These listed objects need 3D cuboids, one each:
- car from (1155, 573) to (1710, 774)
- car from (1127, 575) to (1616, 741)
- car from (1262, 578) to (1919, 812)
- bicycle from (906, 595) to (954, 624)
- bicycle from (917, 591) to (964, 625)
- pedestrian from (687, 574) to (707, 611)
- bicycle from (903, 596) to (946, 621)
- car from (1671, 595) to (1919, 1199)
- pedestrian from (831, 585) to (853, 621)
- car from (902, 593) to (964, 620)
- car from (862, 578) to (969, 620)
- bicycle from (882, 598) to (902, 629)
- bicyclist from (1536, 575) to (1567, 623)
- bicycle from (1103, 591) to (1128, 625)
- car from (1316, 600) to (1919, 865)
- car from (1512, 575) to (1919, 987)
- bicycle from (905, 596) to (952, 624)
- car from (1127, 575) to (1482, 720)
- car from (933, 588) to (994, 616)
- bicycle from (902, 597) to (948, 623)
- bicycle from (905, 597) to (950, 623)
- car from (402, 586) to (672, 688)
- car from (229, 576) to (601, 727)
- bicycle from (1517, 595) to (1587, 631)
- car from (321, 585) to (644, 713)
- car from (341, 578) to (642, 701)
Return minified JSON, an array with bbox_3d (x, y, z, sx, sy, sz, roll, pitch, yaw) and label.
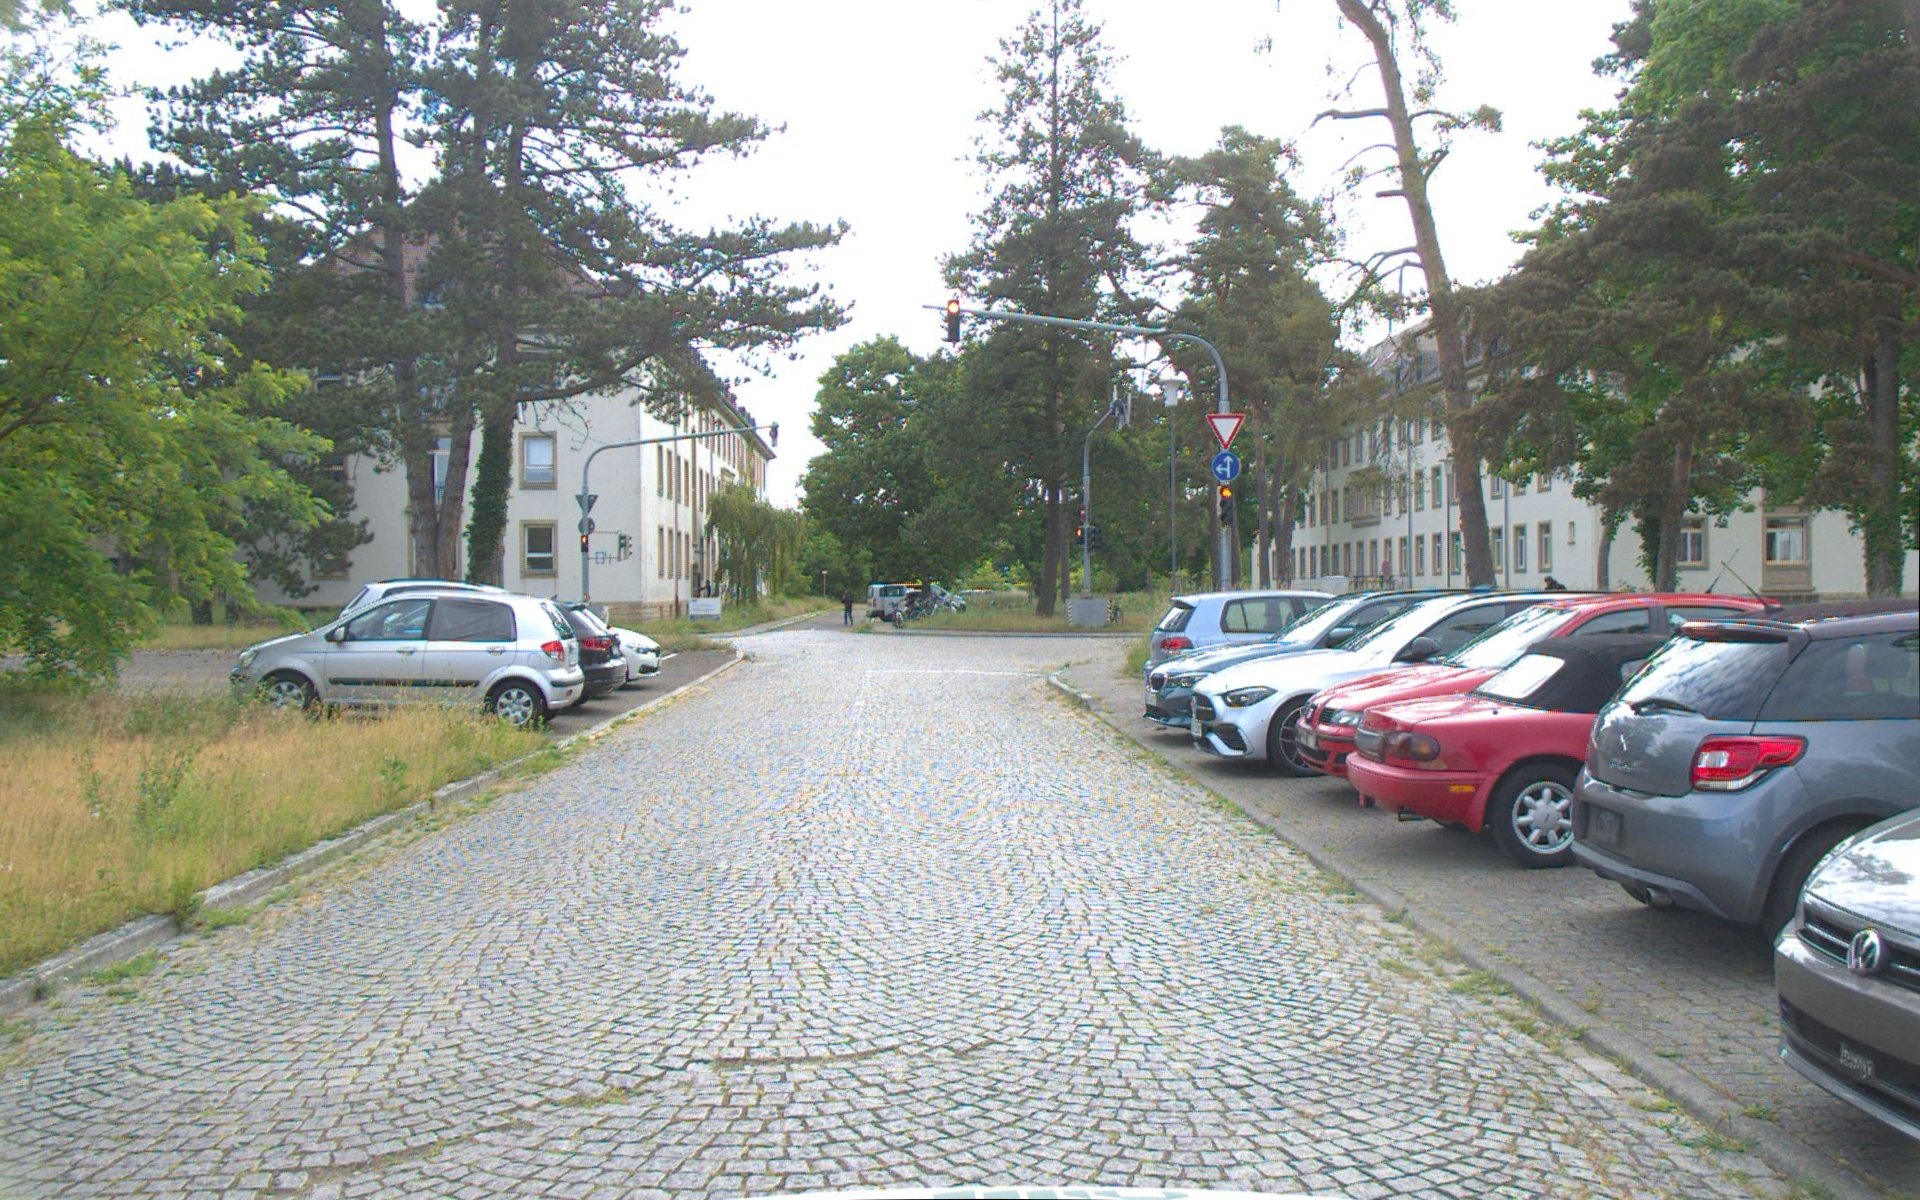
[{"bbox_3d":[4.105,0.583,14.650,4.344,1.441,1.866,-2,0,-12],"label":"car"},{"bbox_3d":[4.209,0.558,17.343,4.590,1.441,1.869,-2,0,-5],"label":"car"},{"bbox_3d":[4.561,0.644,12.401,4.177,1.441,1.870,-2,0,-3],"label":"car"},{"bbox_3d":[-1.238,0.390,68.423,1.919,1.152,0.587,-1,0,-10],"label":"bicycle"},{"bbox_3d":[-0.830,0.322,69.907,1.919,1.408,0.587,-1,0,-10],"label":"bicycle"},{"bbox_3d":[-13.311,-0.380,83.625,0.767,1.869,0.732,-1,0,-34],"label":"pedestrian"},{"bbox_3d":[-1.622,0.395,75.563,1.932,1.088,0.583,-1,0,-27],"label":"bicycle"},{"bbox_3d":[4.171,0.692,4.396,3.787,1.497,1.756,-2,0,-5],"label":"car"},{"bbox_3d":[-5.351,0.137,75.106,0.730,1.647,0.769,-1,0,-27],"label":"pedestrian"},{"bbox_3d":[-1.379,0.324,83.141,2.949,1.290,1.532,-1,0,-8],"label":"car"},{"bbox_3d":[-2.339,-0.052,86.468,5.266,1.958,2.019,-2,0,-12],"label":"car"},{"bbox_3d":[-2.683,0.521,65.160,0.592,1.152,1.958,-1,0,-8],"label":"bicycle"},{"bbox_3d":[18.041,-0.034,50.450,0.734,1.435,0.604,0,0,-3],"label":"bicyclist"},{"bbox_3d":[5.316,0.260,56.601,0.574,1.125,1.960,0,0,-2],"label":"bicycle"},{"bbox_3d":[4.254,0.712,9.902,3.786,1.257,1.757,-2,0,-4],"label":"car"},{"bbox_3d":[4.645,0.637,7.291,3.786,1.497,1.757,-2,0,-4],"label":"car"},{"bbox_3d":[-1.325,0.412,69.053,1.919,1.136,0.587,-1,0,-10],"label":"bicycle"},{"bbox_3d":[4.037,0.536,19.789,3.847,1.503,1.642,-2,0,-1],"label":"car"},{"bbox_3d":[0.185,0.110,90.465,3.169,1.441,1.723,-1,0,-5],"label":"car"},{"bbox_3d":[-1.489,0.430,70.530,1.936,1.088,0.581,-1,0,-33],"label":"bicycle"},{"bbox_3d":[-1.395,0.424,71.885,1.936,1.088,0.581,-1,0,-33],"label":"bicycle"},{"bbox_3d":[-6.687,0.576,26.422,3.869,1.446,1.649,2,0,-3],"label":"car"},{"bbox_3d":[-6.000,0.556,18.529,3.631,1.505,1.581,2,0,-6],"label":"car"},{"bbox_3d":[18.047,0.392,50.448,1.916,1.042,0.604,-1,0,-3],"label":"bicycle"},{"bbox_3d":[-6.010,0.603,21.128,3.673,1.453,1.581,2,0,-6],"label":"car"},{"bbox_3d":[-6.672,0.553,23.885,3.871,1.590,1.648,2,0,-6],"label":"car"}]
